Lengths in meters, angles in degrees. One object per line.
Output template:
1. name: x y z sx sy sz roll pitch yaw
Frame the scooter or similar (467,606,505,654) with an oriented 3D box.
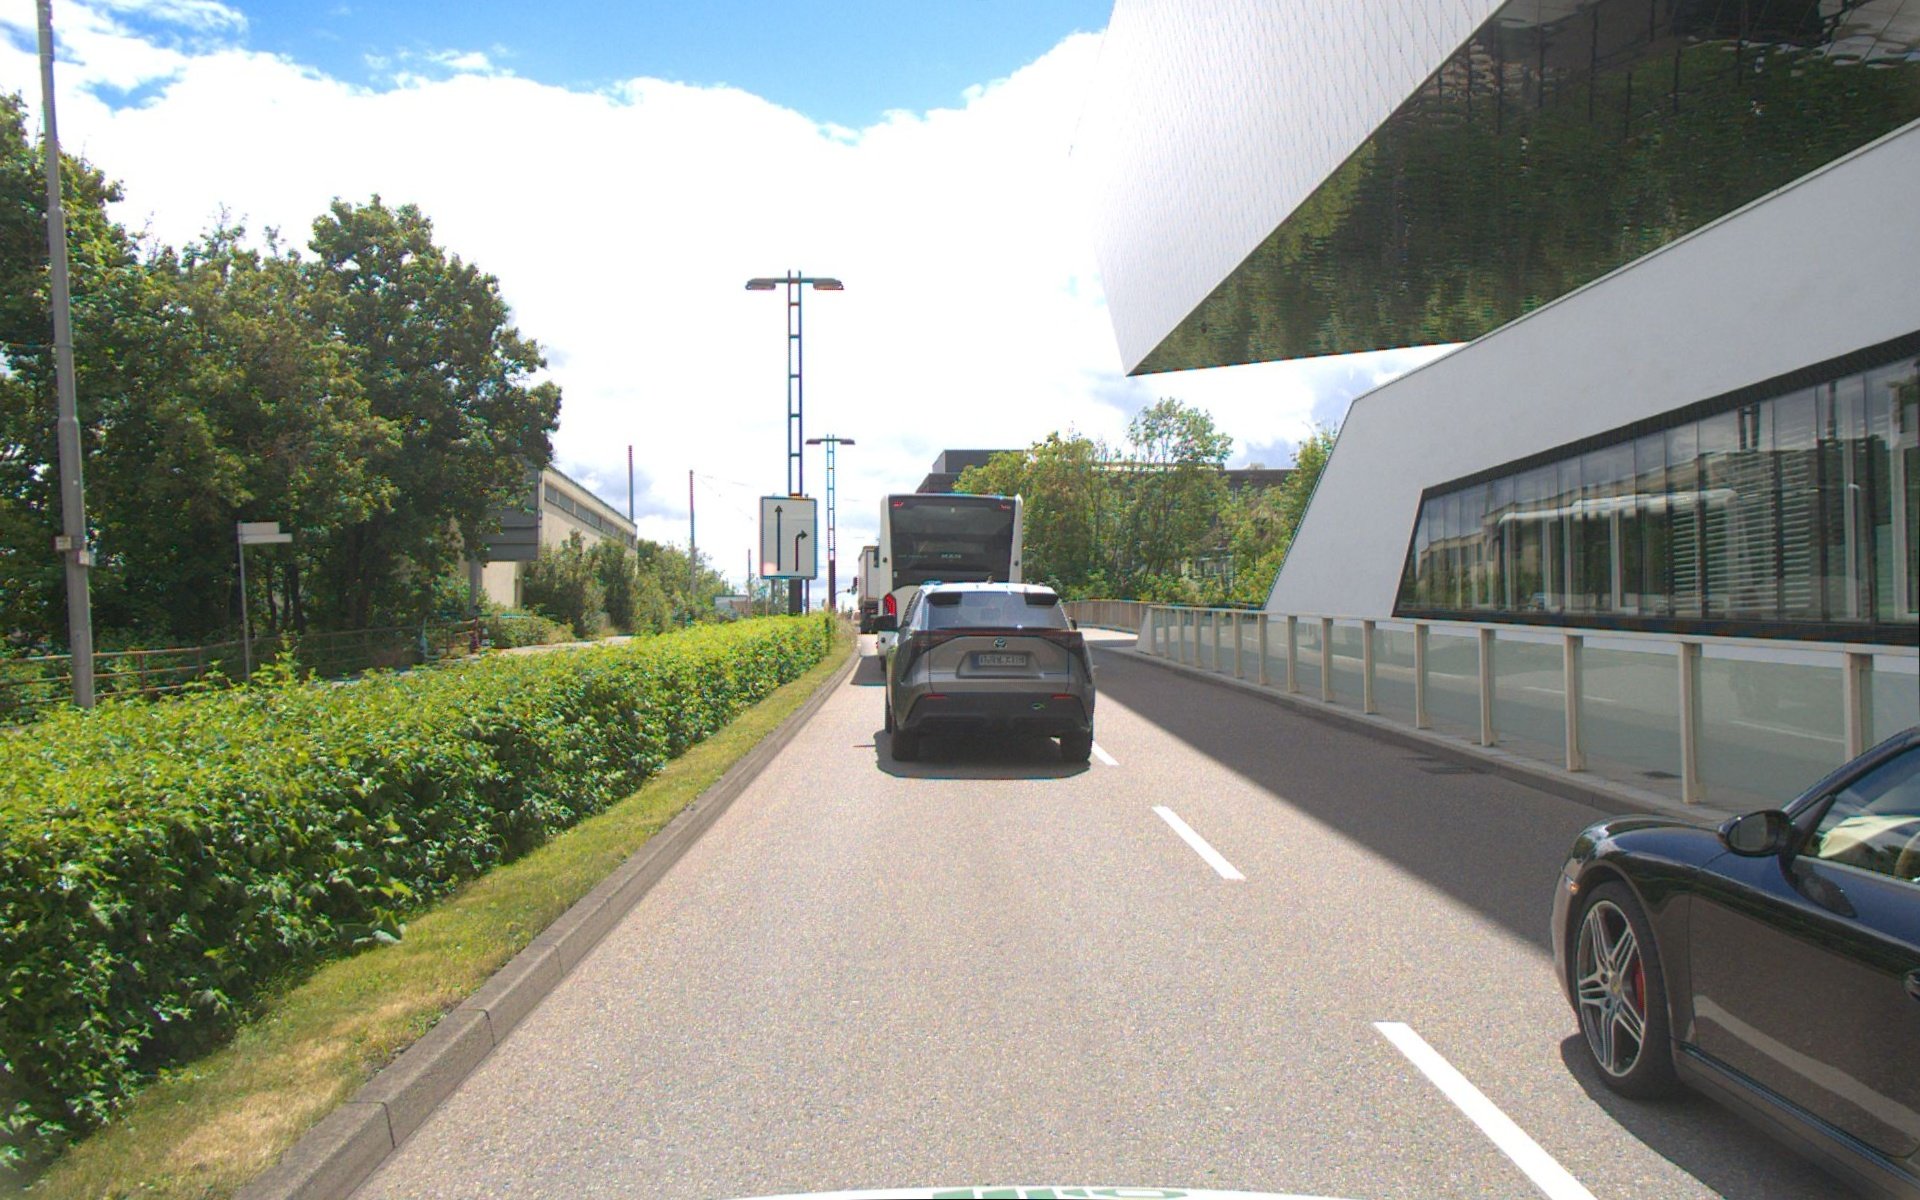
1. scooter or similar: -12.533 0.781 43.749 0.481 1.237 1.643 -1 0 1

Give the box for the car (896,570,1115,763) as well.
1. car: 0.320 0.576 16.098 1.842 1.622 4.227 1 0 -2

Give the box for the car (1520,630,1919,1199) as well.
1. car: 2.861 0.751 3.820 1.685 1.297 4.087 0 0 -1

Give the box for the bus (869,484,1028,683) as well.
1. bus: -0.254 -0.369 33.982 2.634 3.312 12.056 1 1 -1

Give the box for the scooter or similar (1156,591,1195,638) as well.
1. scooter or similar: 5.847 0.396 44.904 0.640 1.235 1.856 -2 0 -4

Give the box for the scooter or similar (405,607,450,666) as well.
1. scooter or similar: -12.337 0.832 38.337 0.481 1.327 1.643 1 0 1
